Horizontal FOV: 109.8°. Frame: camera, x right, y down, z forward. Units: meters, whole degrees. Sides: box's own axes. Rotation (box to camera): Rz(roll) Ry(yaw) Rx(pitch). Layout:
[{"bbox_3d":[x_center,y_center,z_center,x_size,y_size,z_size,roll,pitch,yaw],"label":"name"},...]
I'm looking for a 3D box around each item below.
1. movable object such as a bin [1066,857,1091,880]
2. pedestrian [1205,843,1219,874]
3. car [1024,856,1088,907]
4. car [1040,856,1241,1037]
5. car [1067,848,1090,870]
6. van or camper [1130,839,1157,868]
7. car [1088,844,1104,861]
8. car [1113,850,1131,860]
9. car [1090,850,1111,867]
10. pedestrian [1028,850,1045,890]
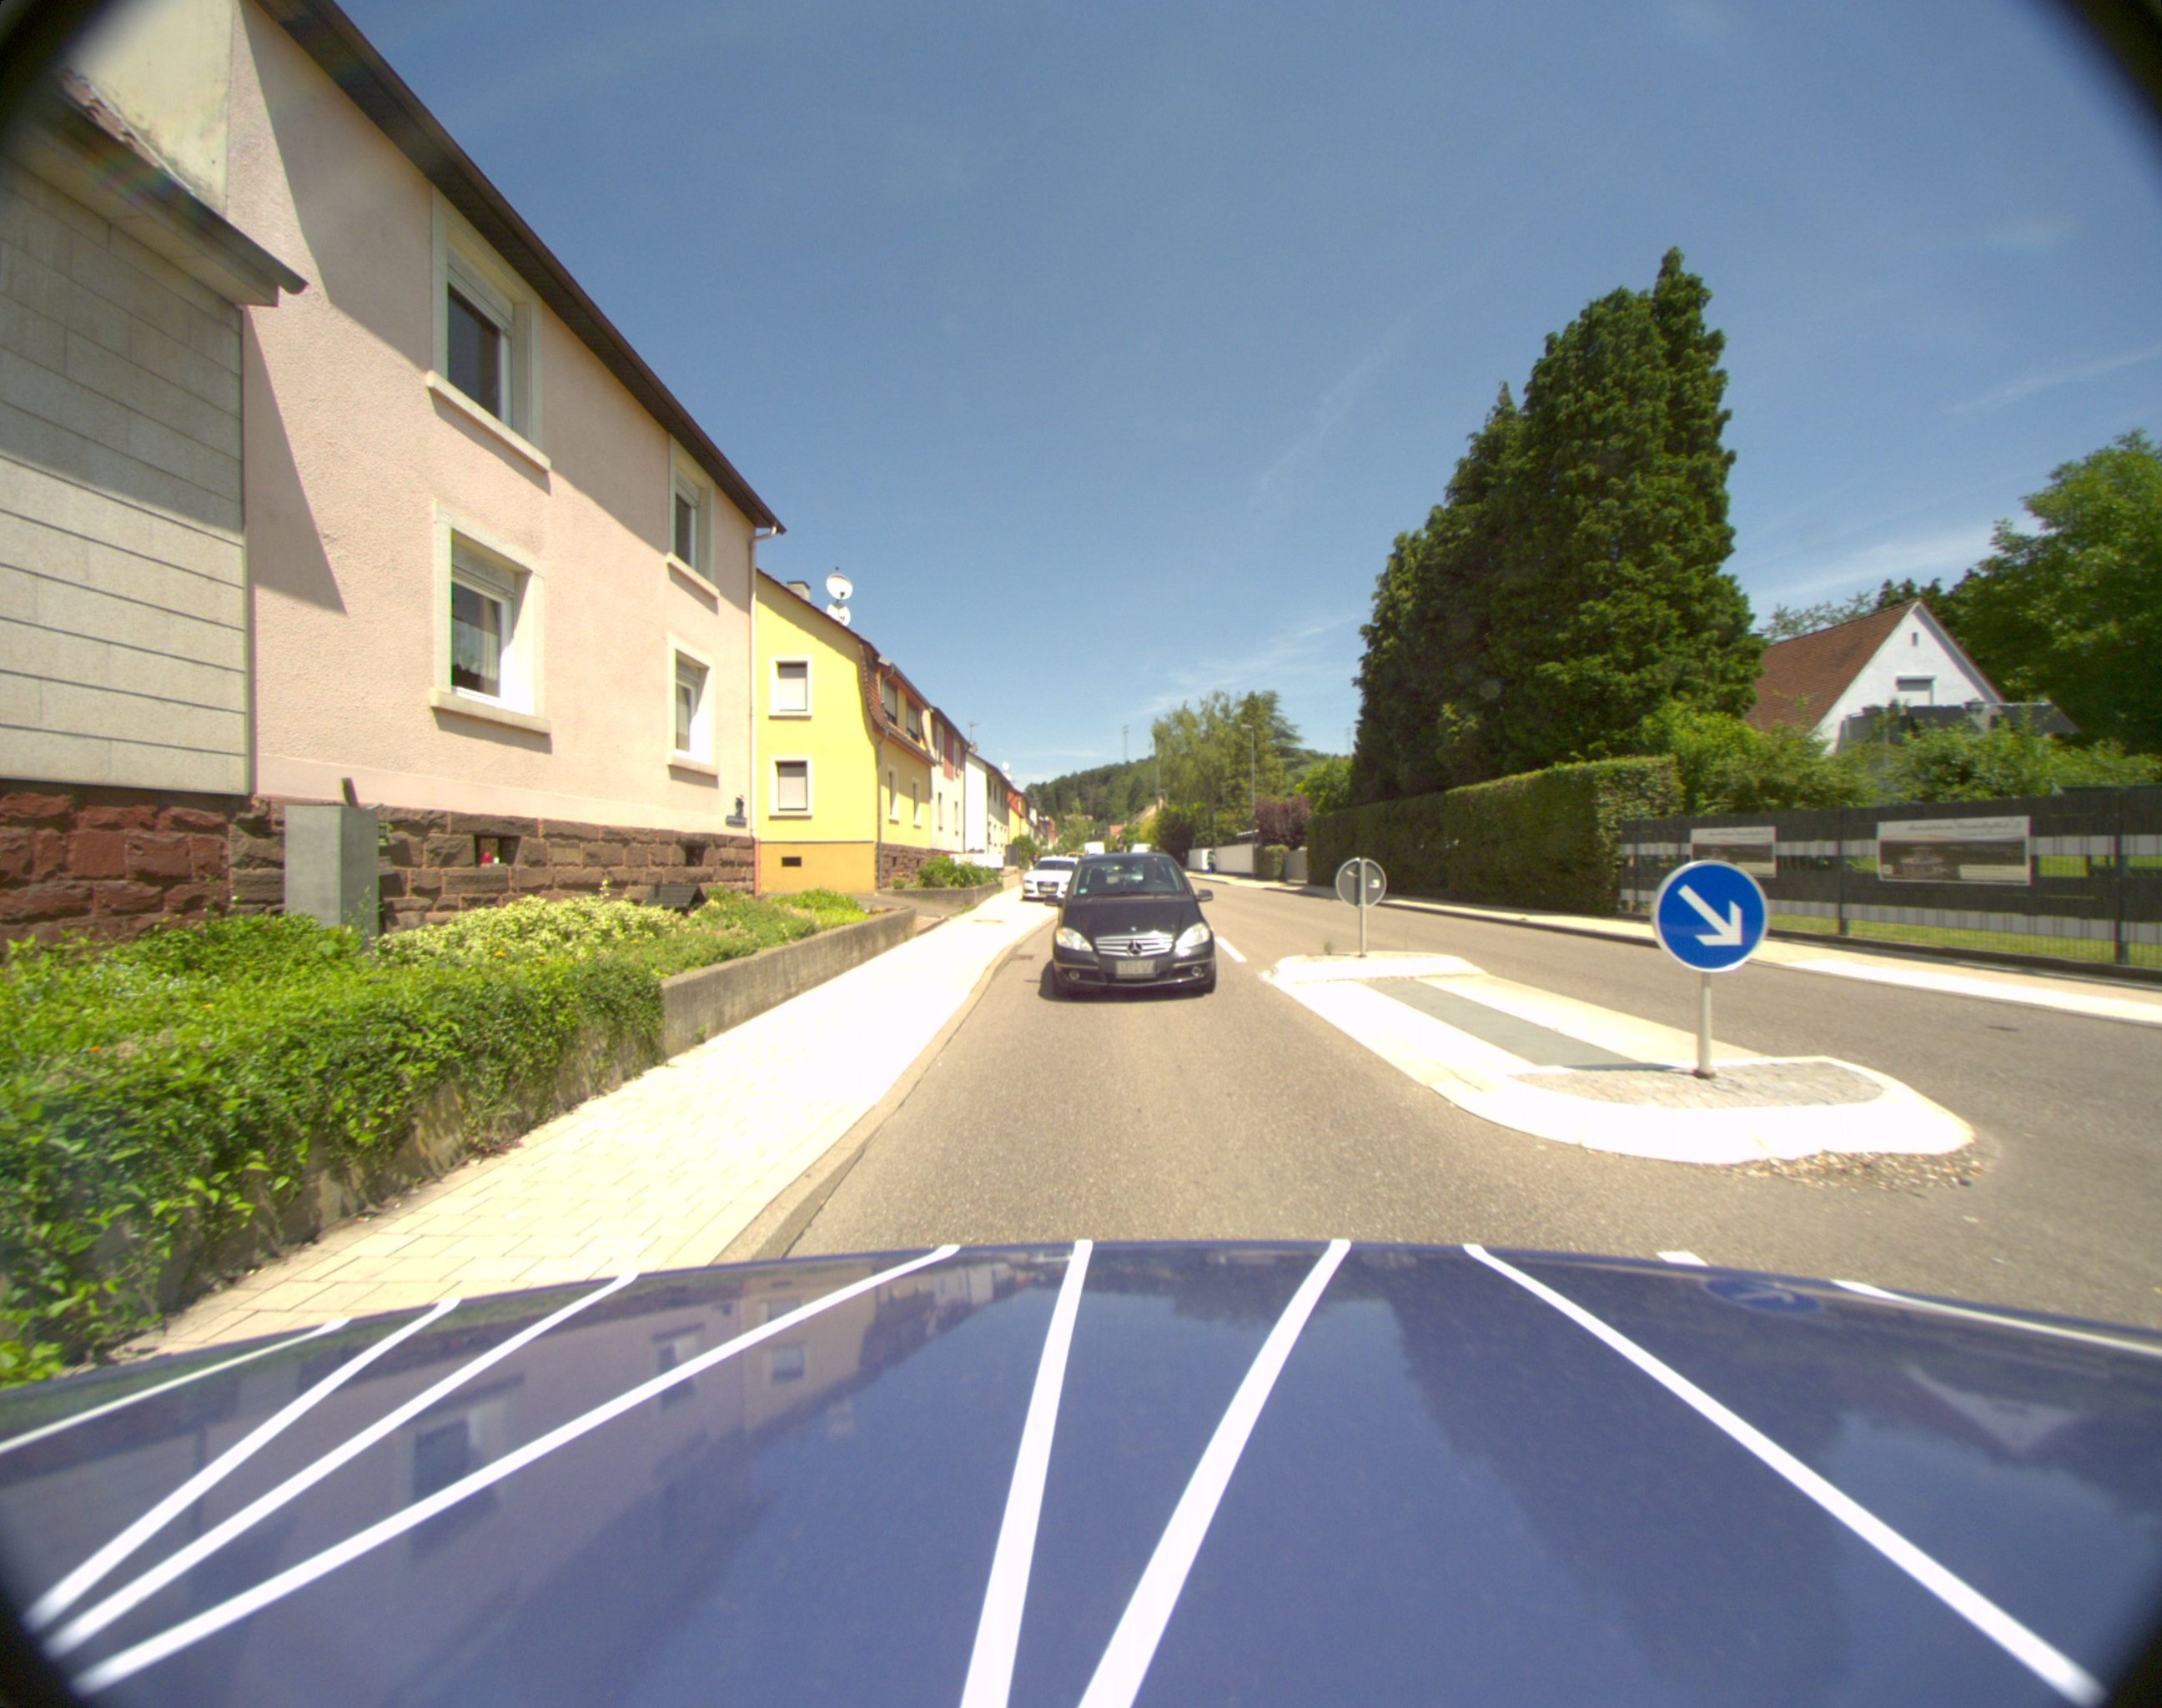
[{"bbox_3d":[-0.156,0.902,49.445,1.576,1.408,3.040,0,1,-1],"label":"movable object such as a bin"},{"bbox_3d":[8.800,0.285,51.058,0.722,2.002,0.804,-2,1,4],"label":"pedestrian"},{"bbox_3d":[-0.738,0.835,25.501,1.760,1.410,4.632,1,1,2],"label":"car"},{"bbox_3d":[0.575,0.849,9.361,1.767,1.572,4.931,-2,0,1],"label":"car"},{"bbox_3d":[-0.330,0.491,78.969,2.195,2.002,5.621,2,1,-2],"label":"car"},{"bbox_3d":[6.110,-0.083,74.501,2.043,2.697,5.823,-1,0,-1],"label":"van or camper"},{"bbox_3d":[2.024,-0.274,103.274,1.987,2.170,3.999,-2,1,0],"label":"car"},{"bbox_3d":[8.667,0.195,160.958,3.606,1.780,1.848,-2,1,-2],"label":"car"},{"bbox_3d":[2.112,0.492,84.367,1.999,1.716,3.999,-3,0,-2],"label":"car"},{"bbox_3d":[-2.290,0.805,39.357,0.748,2.002,1.033,-2,1,1],"label":"pedestrian"}]
